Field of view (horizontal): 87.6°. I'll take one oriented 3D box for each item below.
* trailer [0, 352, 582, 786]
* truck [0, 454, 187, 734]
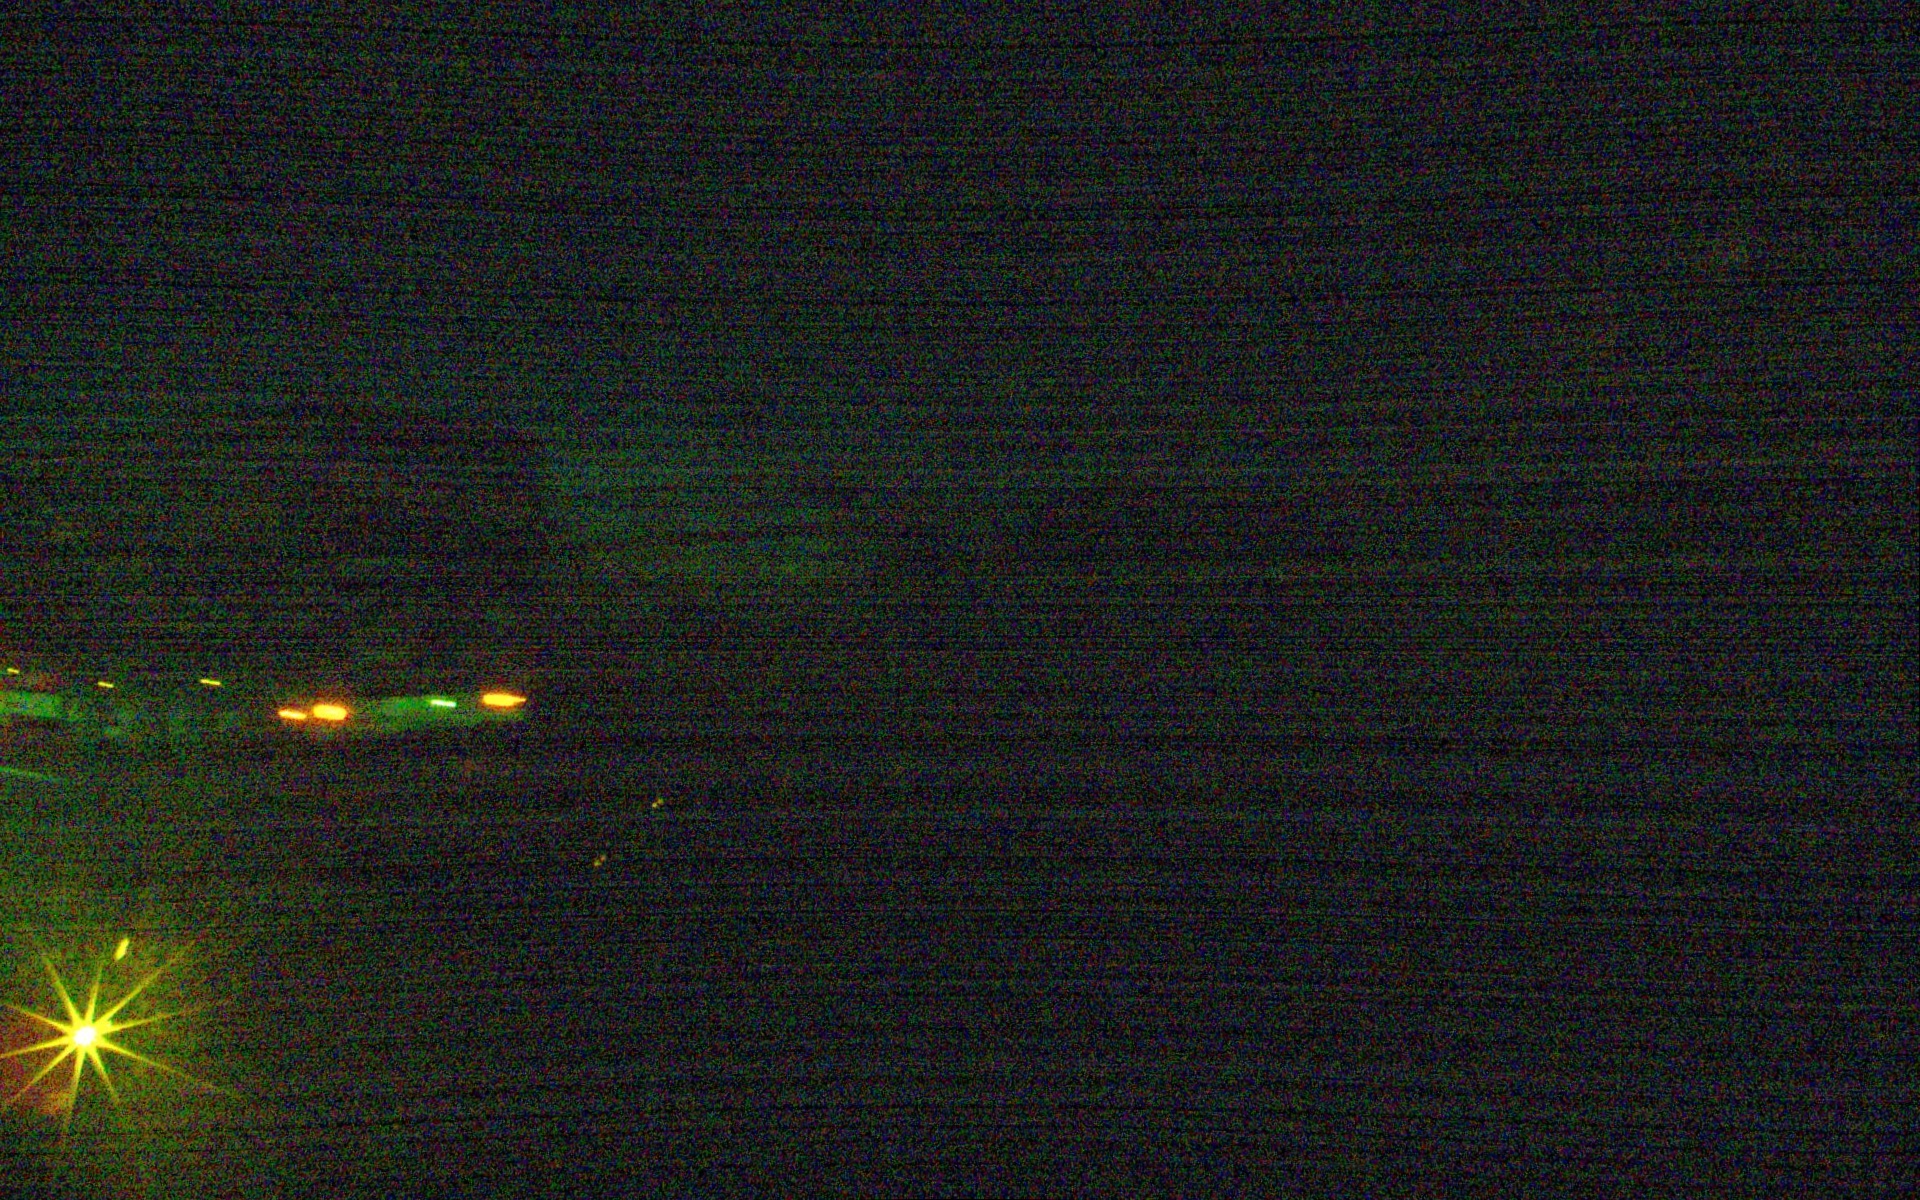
[{"bbox_3d":[-10.863,-0.173,13.993,13.007,4.120,2.851,-1,-1,30],"label":"trailer"},{"bbox_3d":[-16.890,-0.025,17.466,7.399,4.130,2.858,-1,-1,30],"label":"truck"}]
